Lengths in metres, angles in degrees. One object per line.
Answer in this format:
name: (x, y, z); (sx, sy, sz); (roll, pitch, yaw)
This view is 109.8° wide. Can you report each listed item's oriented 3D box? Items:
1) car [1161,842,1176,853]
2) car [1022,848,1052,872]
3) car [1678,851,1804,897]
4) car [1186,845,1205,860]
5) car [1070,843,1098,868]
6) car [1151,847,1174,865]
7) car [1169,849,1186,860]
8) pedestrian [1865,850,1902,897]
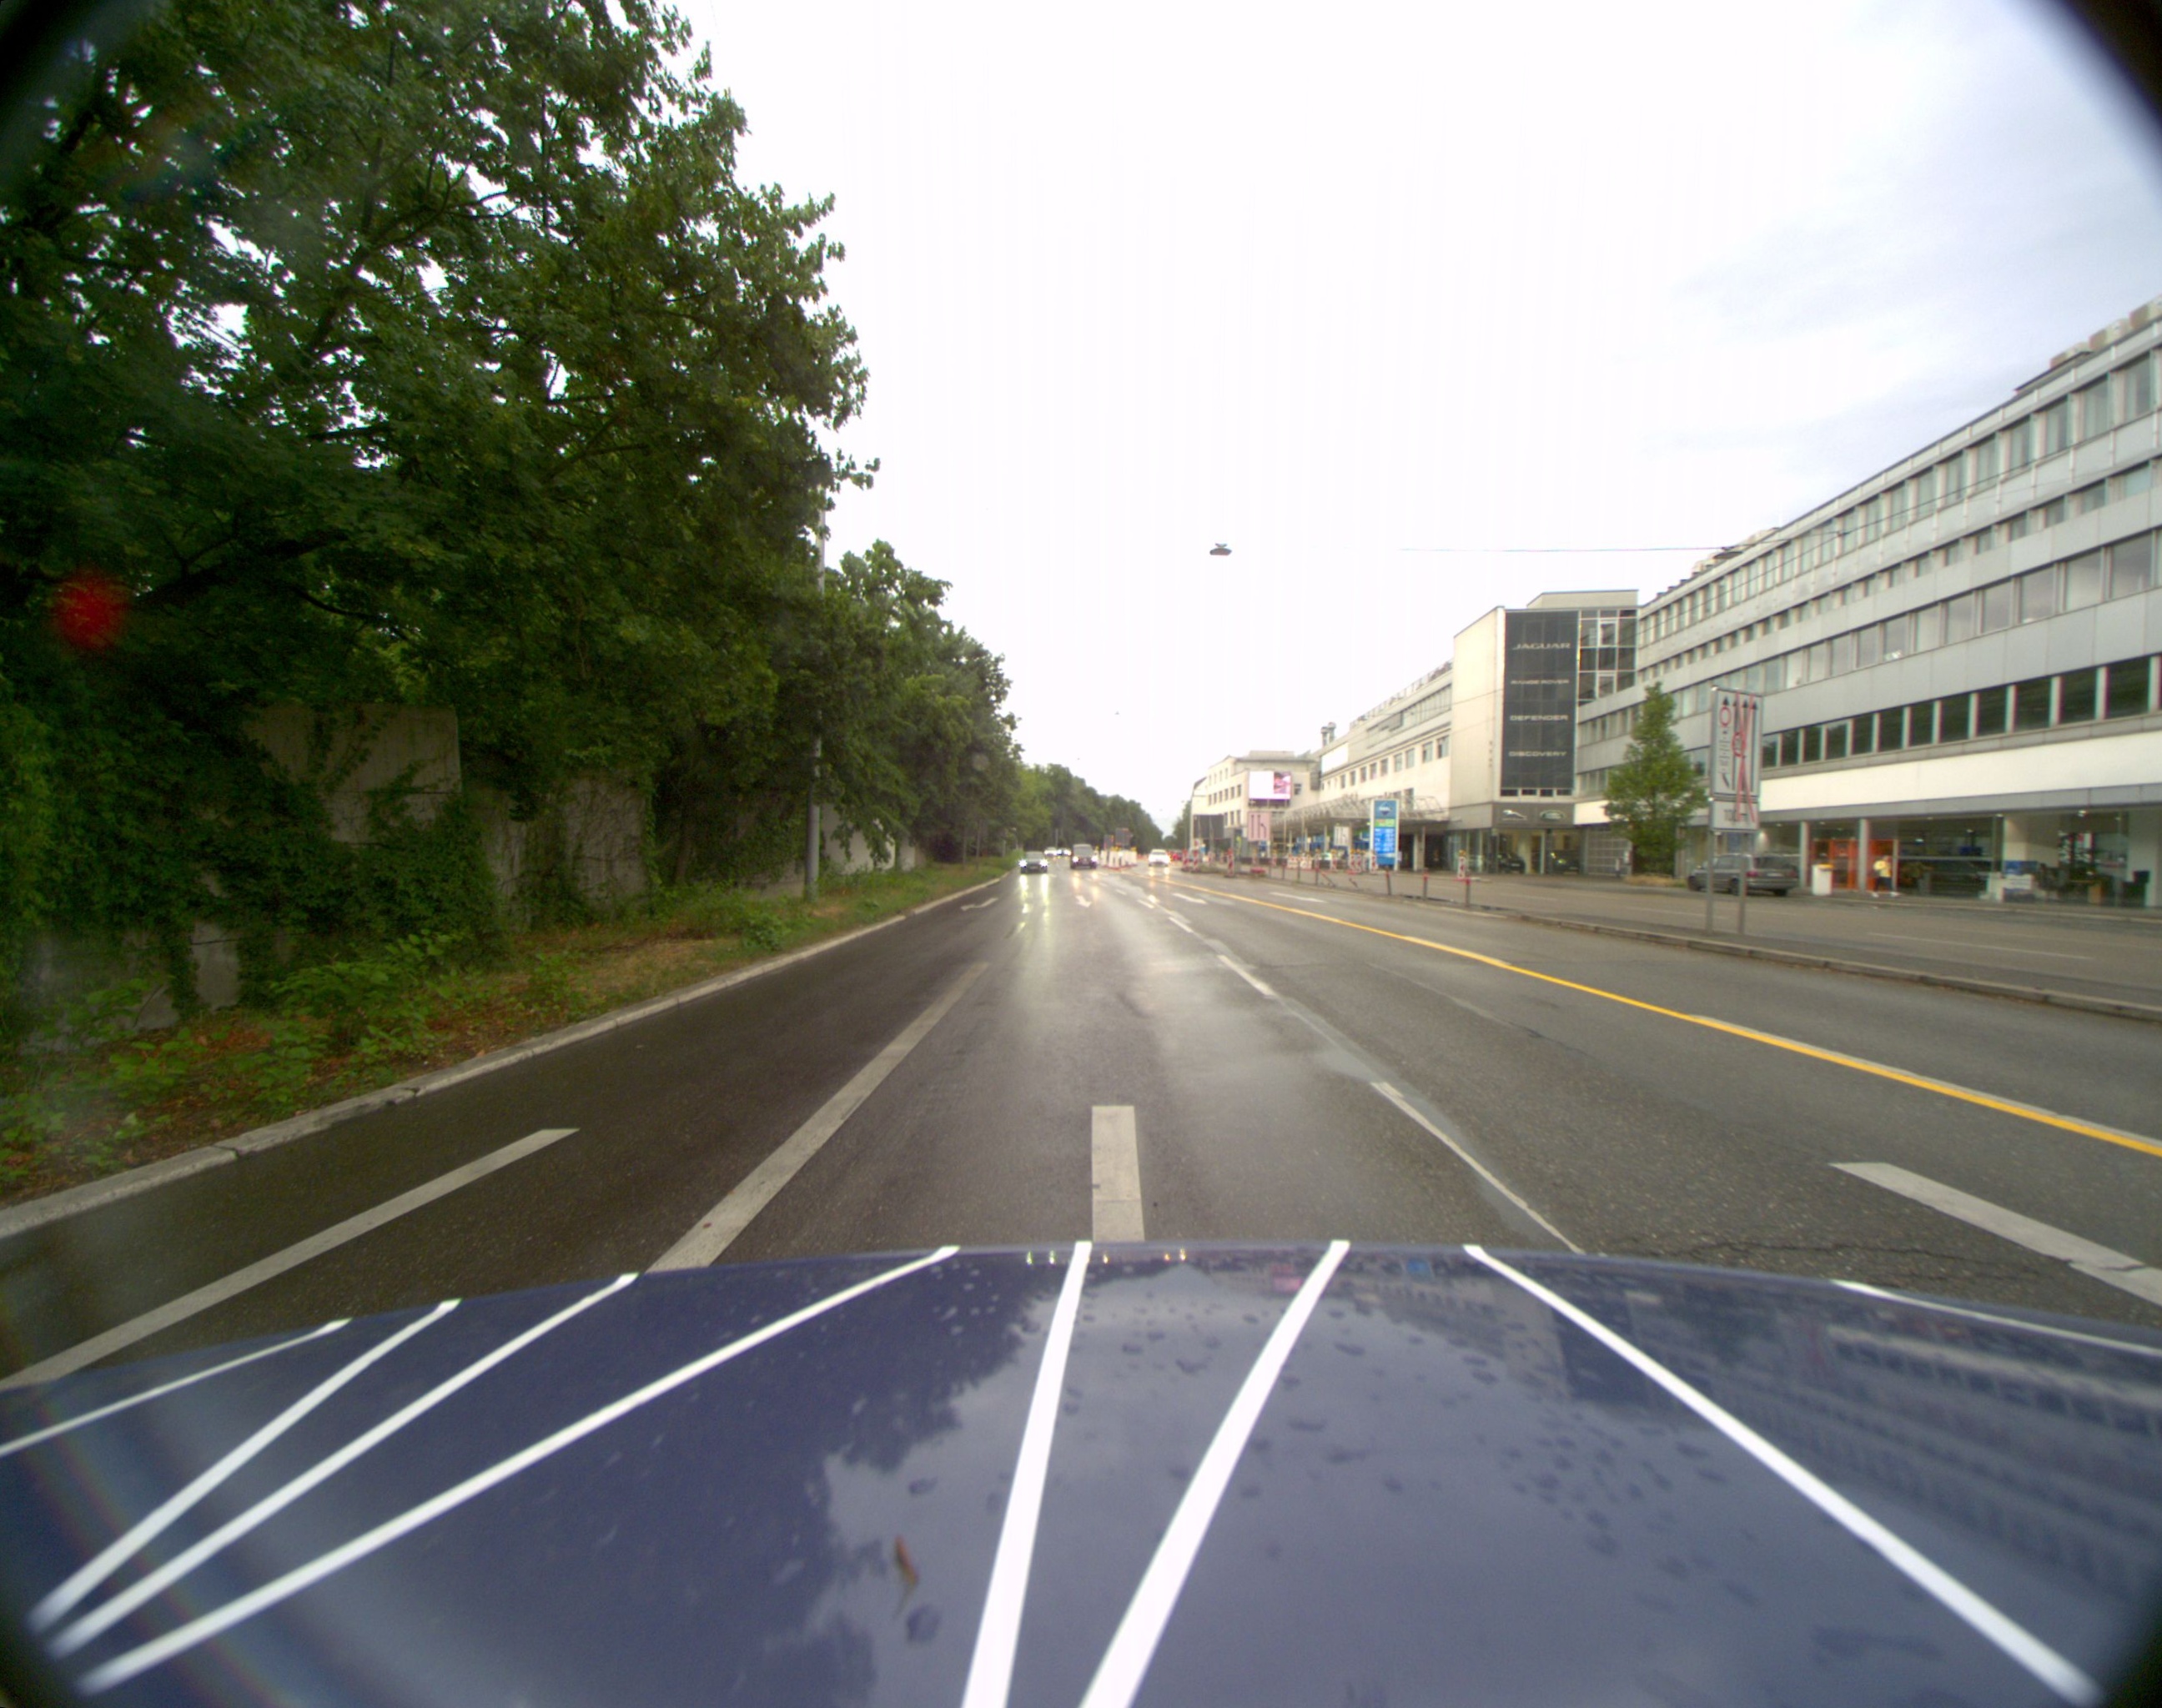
car: (14.695, -1.084, 127.626); (1.850, 1.727, 4.603); (1, 1, 0)
car: (-2.976, 0.385, 52.272); (1.742, 1.477, 3.917); (-2, 1, 1)
car: (28.356, 0.790, 32.892); (1.851, 1.769, 4.733); (2, 1, 10)
car: (14.469, -0.237, 96.341); (1.738, 1.776, 4.301); (2, 1, 1)
car: (0.237, 0.071, 57.053); (1.998, 1.740, 3.999); (2, 1, 1)
car: (7.121, 0.139, 66.791); (1.649, 1.477, 3.999); (2, 1, 1)
car: (14.061, 0.037, 110.844); (1.834, 1.493, 4.372); (2, 1, -1)
pedestrian: (30.389, 0.738, 28.767); (0.719, 1.722, 0.538); (2, 1, 14)
